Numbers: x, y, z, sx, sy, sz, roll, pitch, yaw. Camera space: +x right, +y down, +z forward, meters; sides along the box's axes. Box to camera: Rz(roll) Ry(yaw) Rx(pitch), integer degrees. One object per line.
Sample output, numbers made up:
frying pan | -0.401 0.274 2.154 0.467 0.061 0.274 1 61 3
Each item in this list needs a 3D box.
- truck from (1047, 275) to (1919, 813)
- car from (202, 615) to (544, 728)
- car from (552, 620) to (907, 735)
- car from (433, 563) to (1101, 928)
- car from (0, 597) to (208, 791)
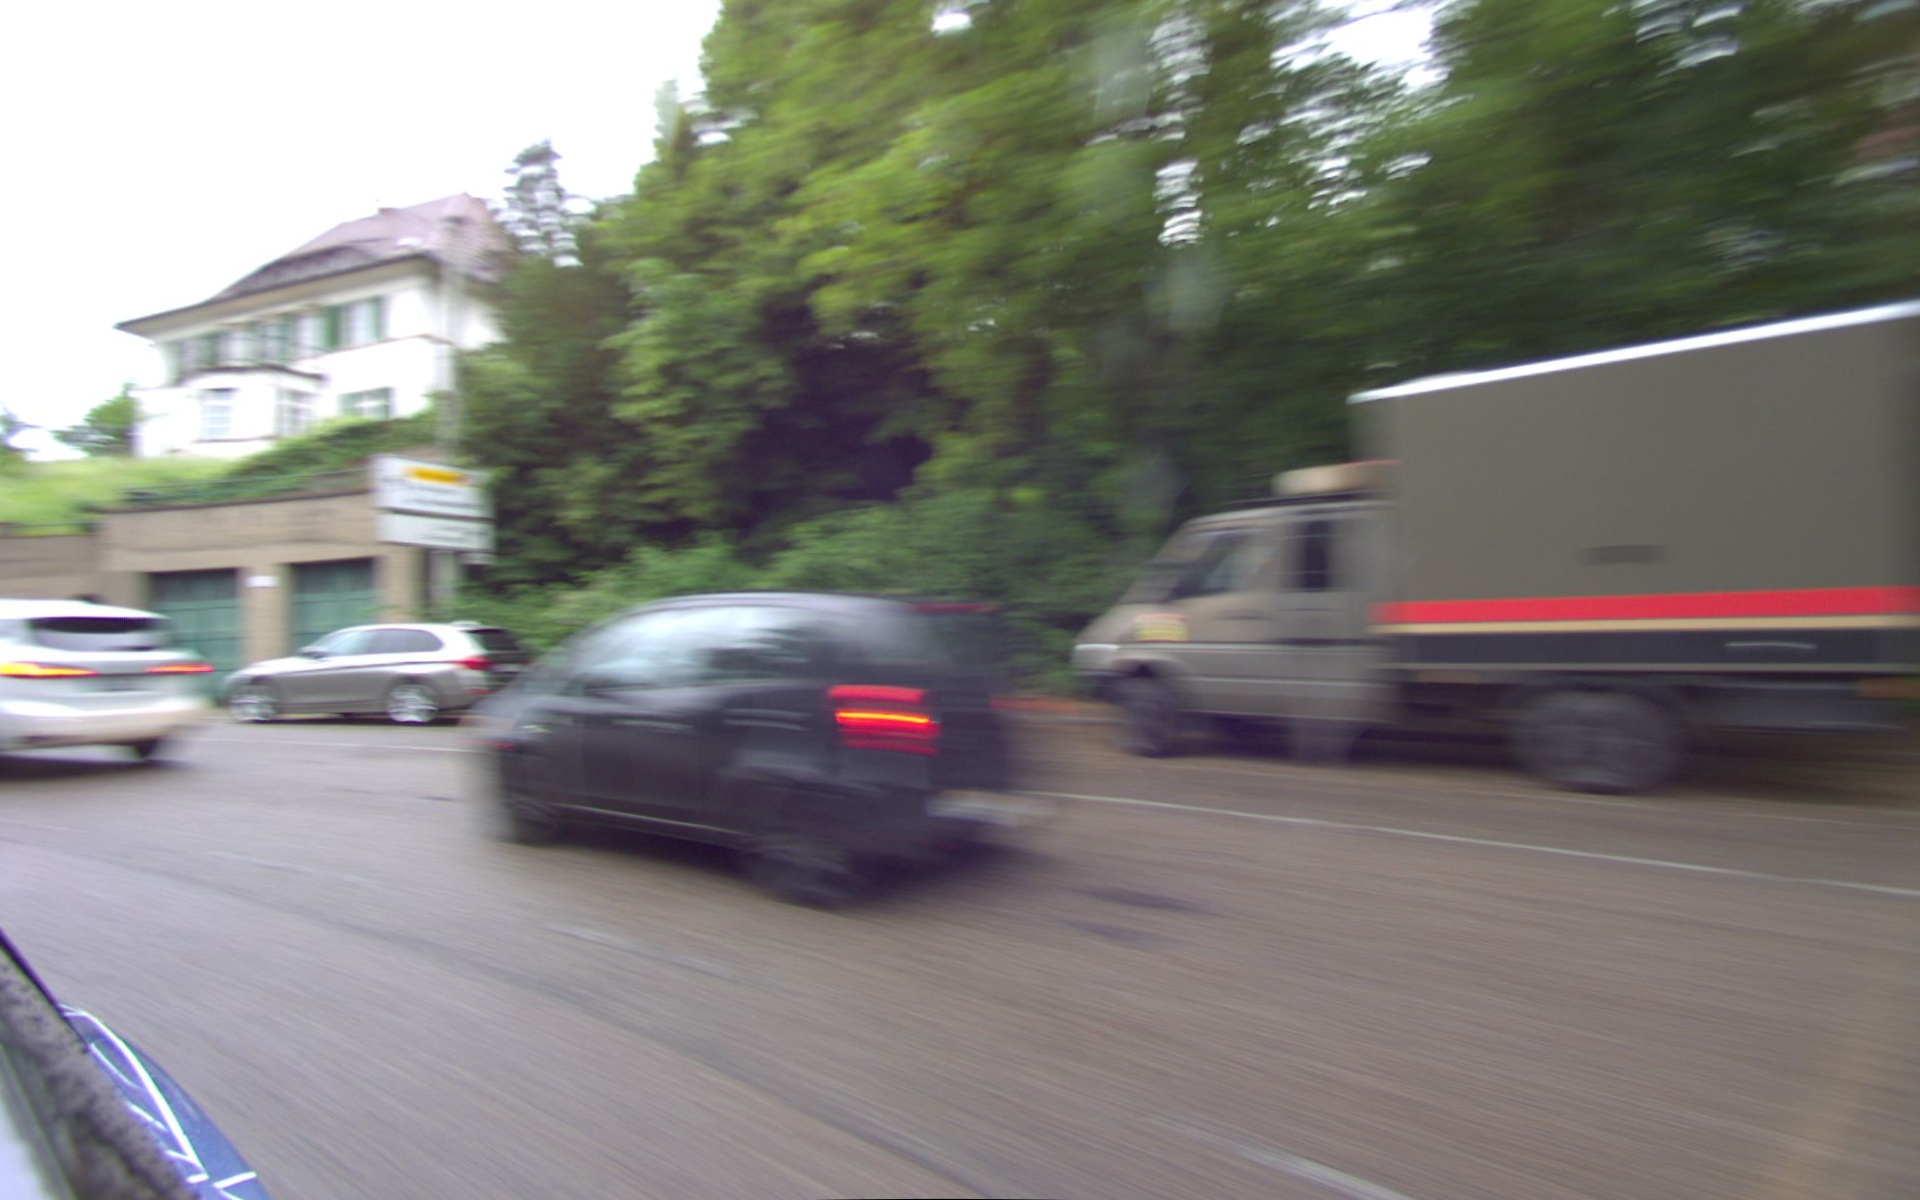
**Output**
truck | 4.059 -0.265 8.397 6.605 3.126 2.013 -2 -1 39
car | -8.617 1.045 14.941 4.486 1.510 1.697 -1 -3 15
car | -2.941 0.955 12.901 4.217 1.285 1.692 -2 -3 22
car | -1.367 0.671 6.200 4.079 1.530 1.744 -2 -1 38
car | -9.759 0.813 9.644 4.413 1.582 1.796 -1 -1 14
